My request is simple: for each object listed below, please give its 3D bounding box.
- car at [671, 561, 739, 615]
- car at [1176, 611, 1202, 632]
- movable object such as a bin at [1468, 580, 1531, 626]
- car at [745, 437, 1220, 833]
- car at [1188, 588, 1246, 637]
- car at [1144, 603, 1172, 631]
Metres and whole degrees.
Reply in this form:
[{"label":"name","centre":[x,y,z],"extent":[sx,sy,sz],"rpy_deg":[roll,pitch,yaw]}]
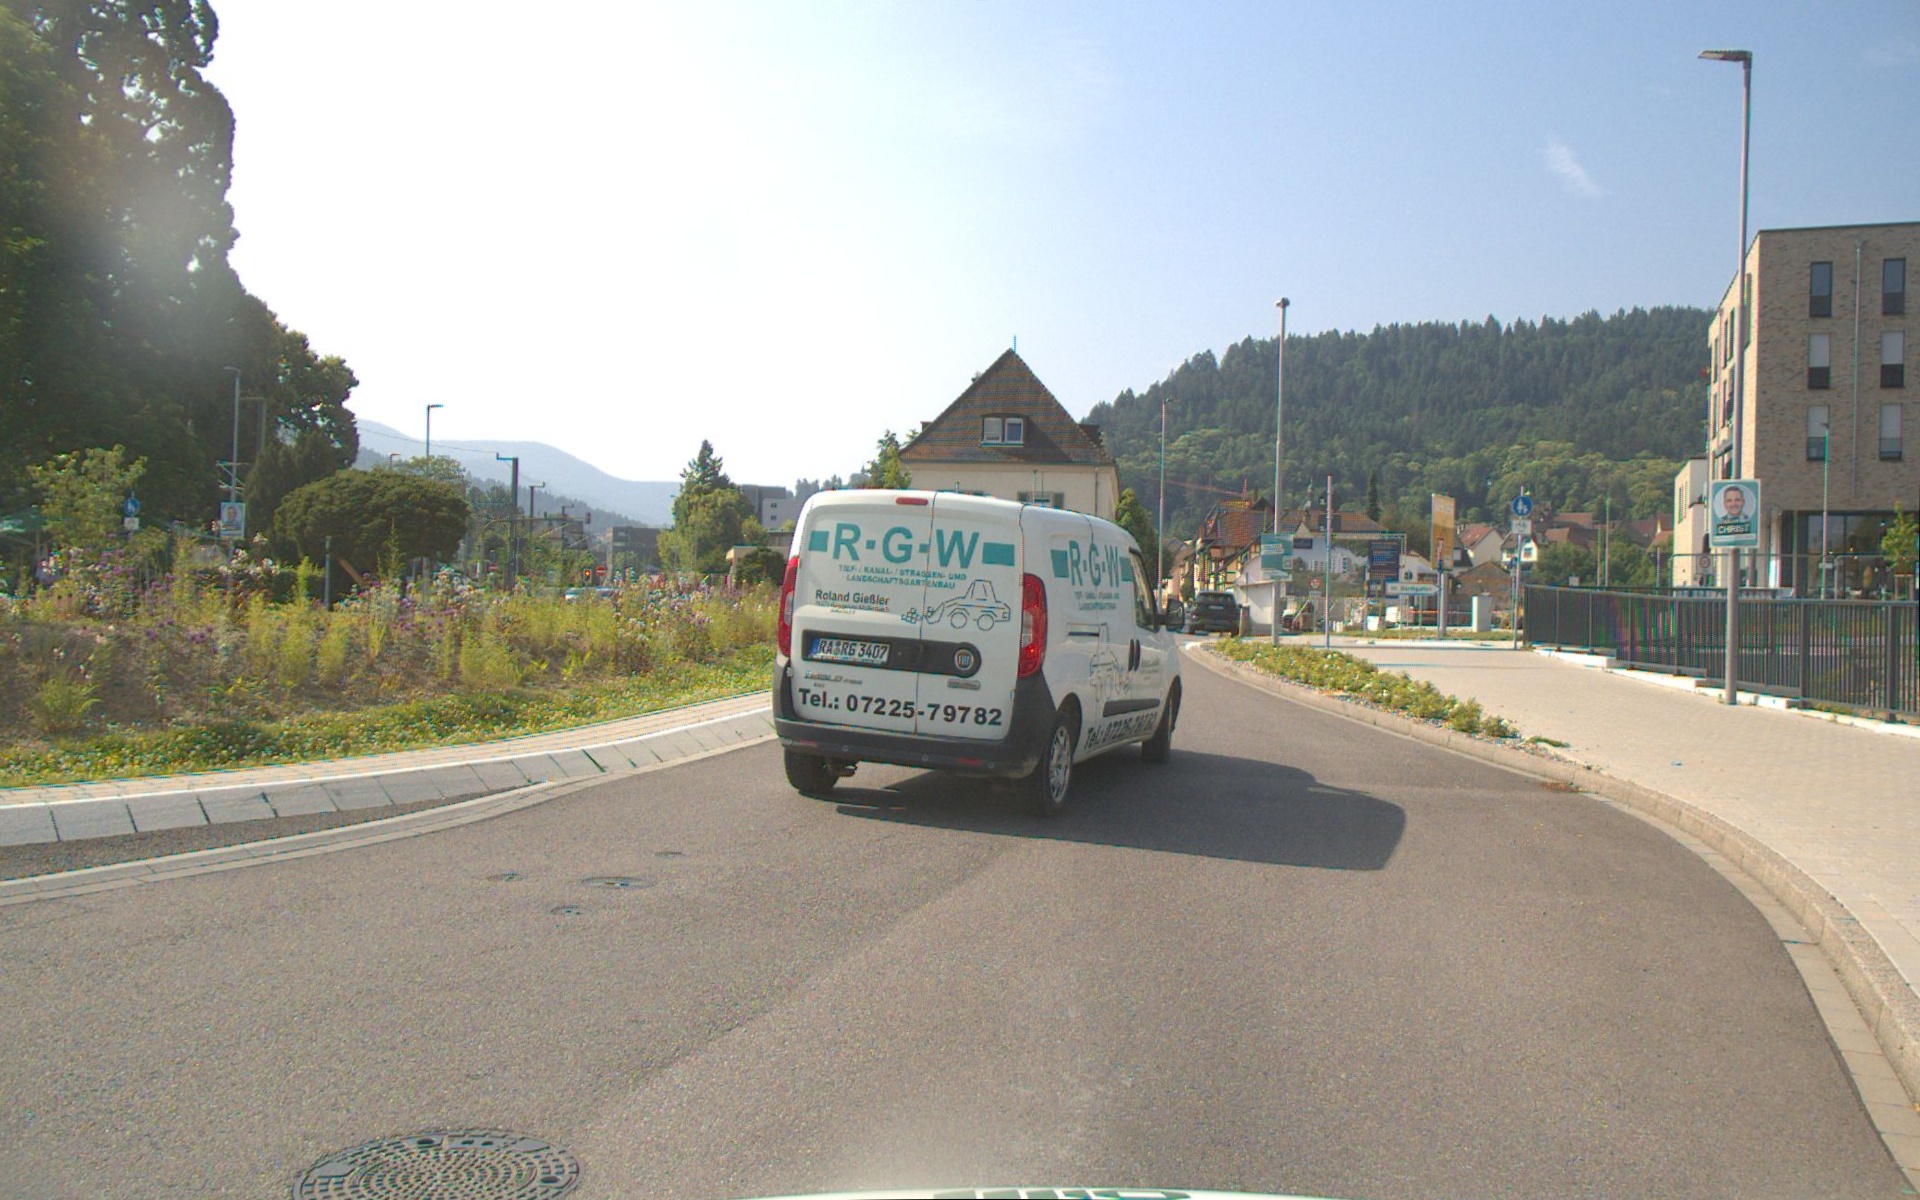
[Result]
[{"label":"car","centre":[-9.977,-0.478,64.960],"extent":[1.771,2.049,4.002],"rpy_deg":[1,1,4]},{"label":"car","centre":[11.731,1.097,84.736],"extent":[1.278,1.021,3.093],"rpy_deg":[1,-1,7]},{"label":"movable object such as a bin","centre":[22.382,0.124,68.641],"extent":[2.391,1.876,1.429],"rpy_deg":[0,-1,15]},{"label":"car","centre":[0.421,0.149,11.460],"extent":[1.769,2.113,4.605],"rpy_deg":[3,1,20]},{"label":"car","centre":[9.476,0.467,60.788],"extent":[1.841,1.713,4.003],"rpy_deg":[0,-1,13]},{"label":"car","centre":[14.683,1.263,122.315],"extent":[1.951,2.049,4.003],"rpy_deg":[1,-1,8]}]
